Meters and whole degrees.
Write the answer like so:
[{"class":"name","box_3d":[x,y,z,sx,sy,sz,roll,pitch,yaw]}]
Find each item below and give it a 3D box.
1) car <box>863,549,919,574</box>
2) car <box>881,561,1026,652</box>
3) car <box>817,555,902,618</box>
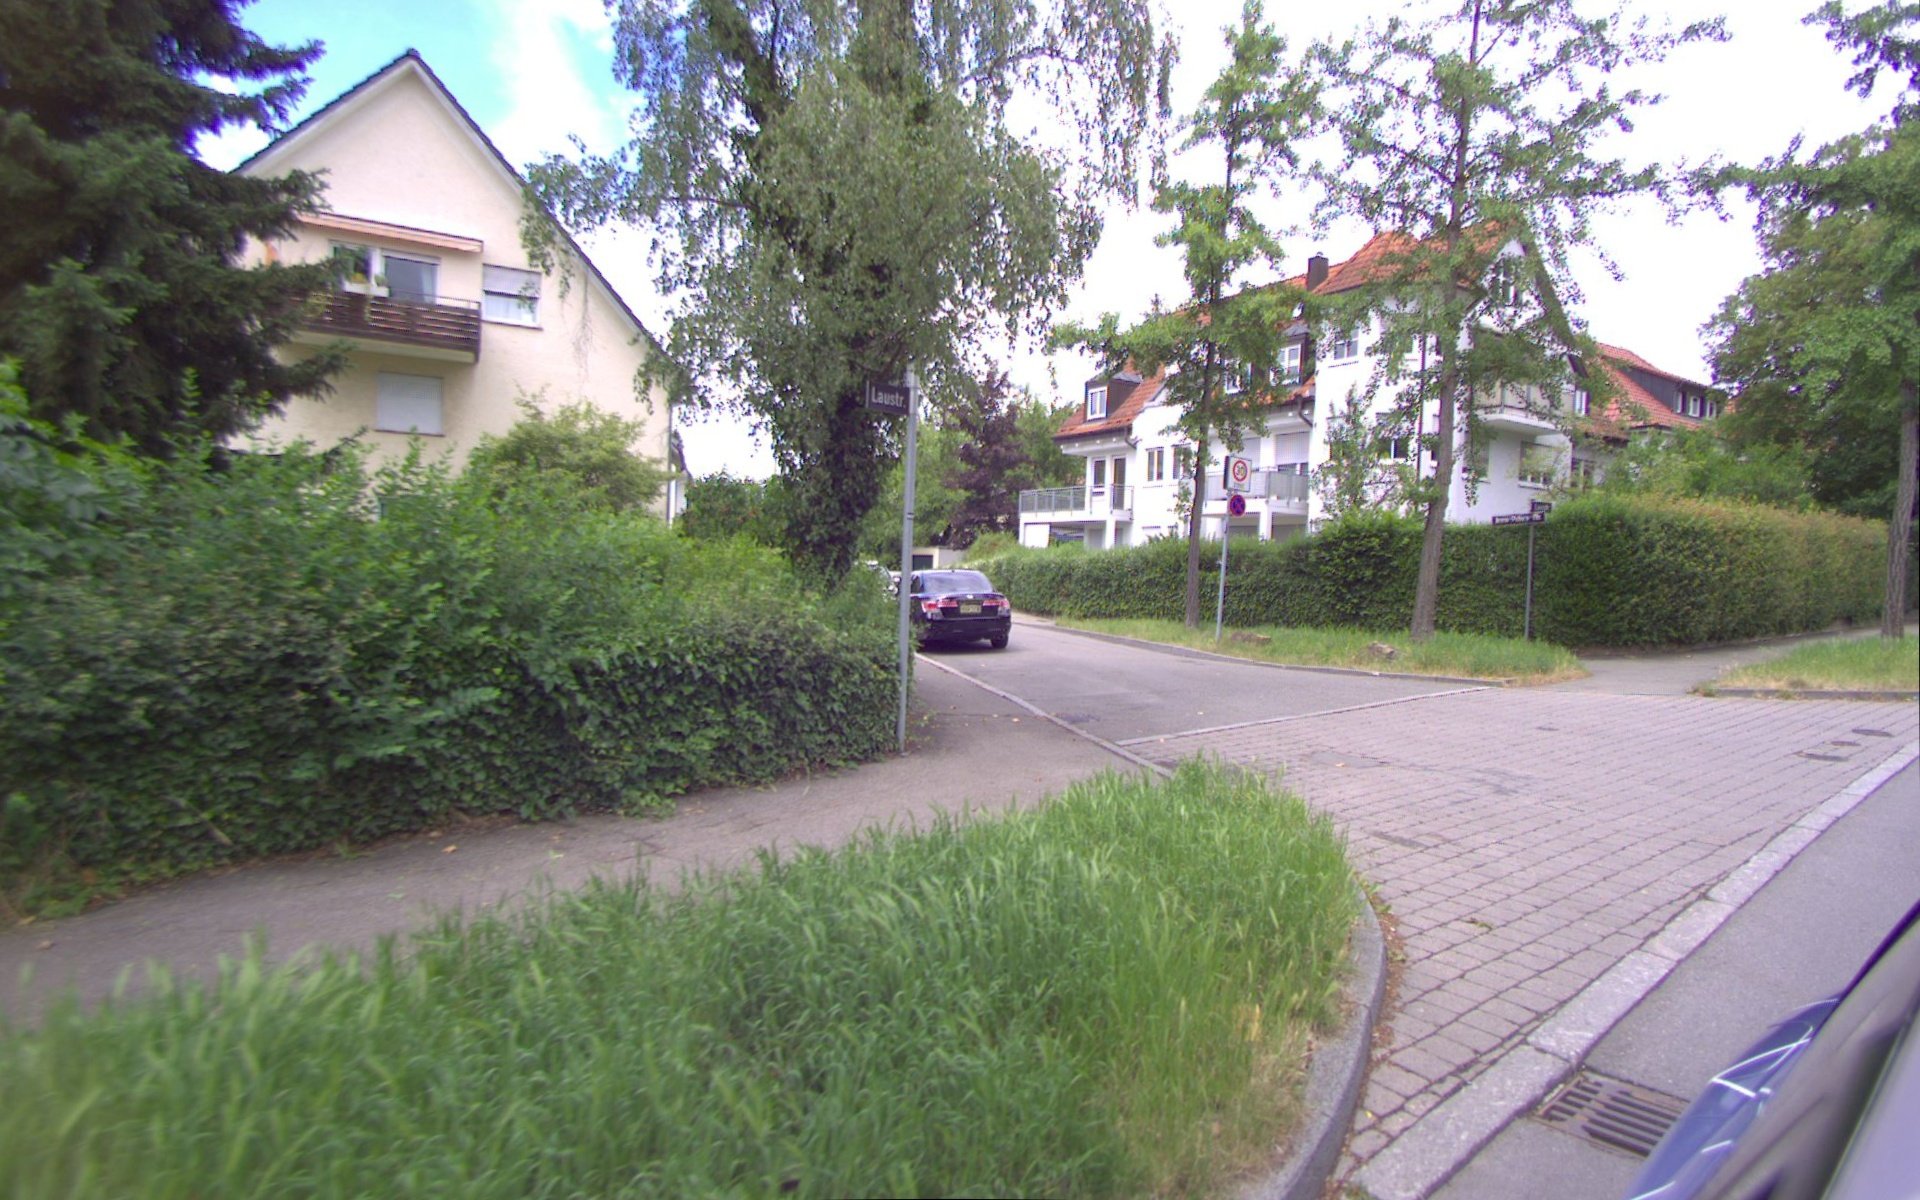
[{"class":"car","box_3d":[-4.149,-2.295,61.019,3.114,1.468,1.369,0,2,-17]},{"class":"car","box_3d":[-0.264,0.036,19.545,1.830,1.482,4.471,-2,2,-12]},{"class":"car","box_3d":[-2.894,-0.429,28.472,1.728,1.574,3.979,-3,2,-14]}]
